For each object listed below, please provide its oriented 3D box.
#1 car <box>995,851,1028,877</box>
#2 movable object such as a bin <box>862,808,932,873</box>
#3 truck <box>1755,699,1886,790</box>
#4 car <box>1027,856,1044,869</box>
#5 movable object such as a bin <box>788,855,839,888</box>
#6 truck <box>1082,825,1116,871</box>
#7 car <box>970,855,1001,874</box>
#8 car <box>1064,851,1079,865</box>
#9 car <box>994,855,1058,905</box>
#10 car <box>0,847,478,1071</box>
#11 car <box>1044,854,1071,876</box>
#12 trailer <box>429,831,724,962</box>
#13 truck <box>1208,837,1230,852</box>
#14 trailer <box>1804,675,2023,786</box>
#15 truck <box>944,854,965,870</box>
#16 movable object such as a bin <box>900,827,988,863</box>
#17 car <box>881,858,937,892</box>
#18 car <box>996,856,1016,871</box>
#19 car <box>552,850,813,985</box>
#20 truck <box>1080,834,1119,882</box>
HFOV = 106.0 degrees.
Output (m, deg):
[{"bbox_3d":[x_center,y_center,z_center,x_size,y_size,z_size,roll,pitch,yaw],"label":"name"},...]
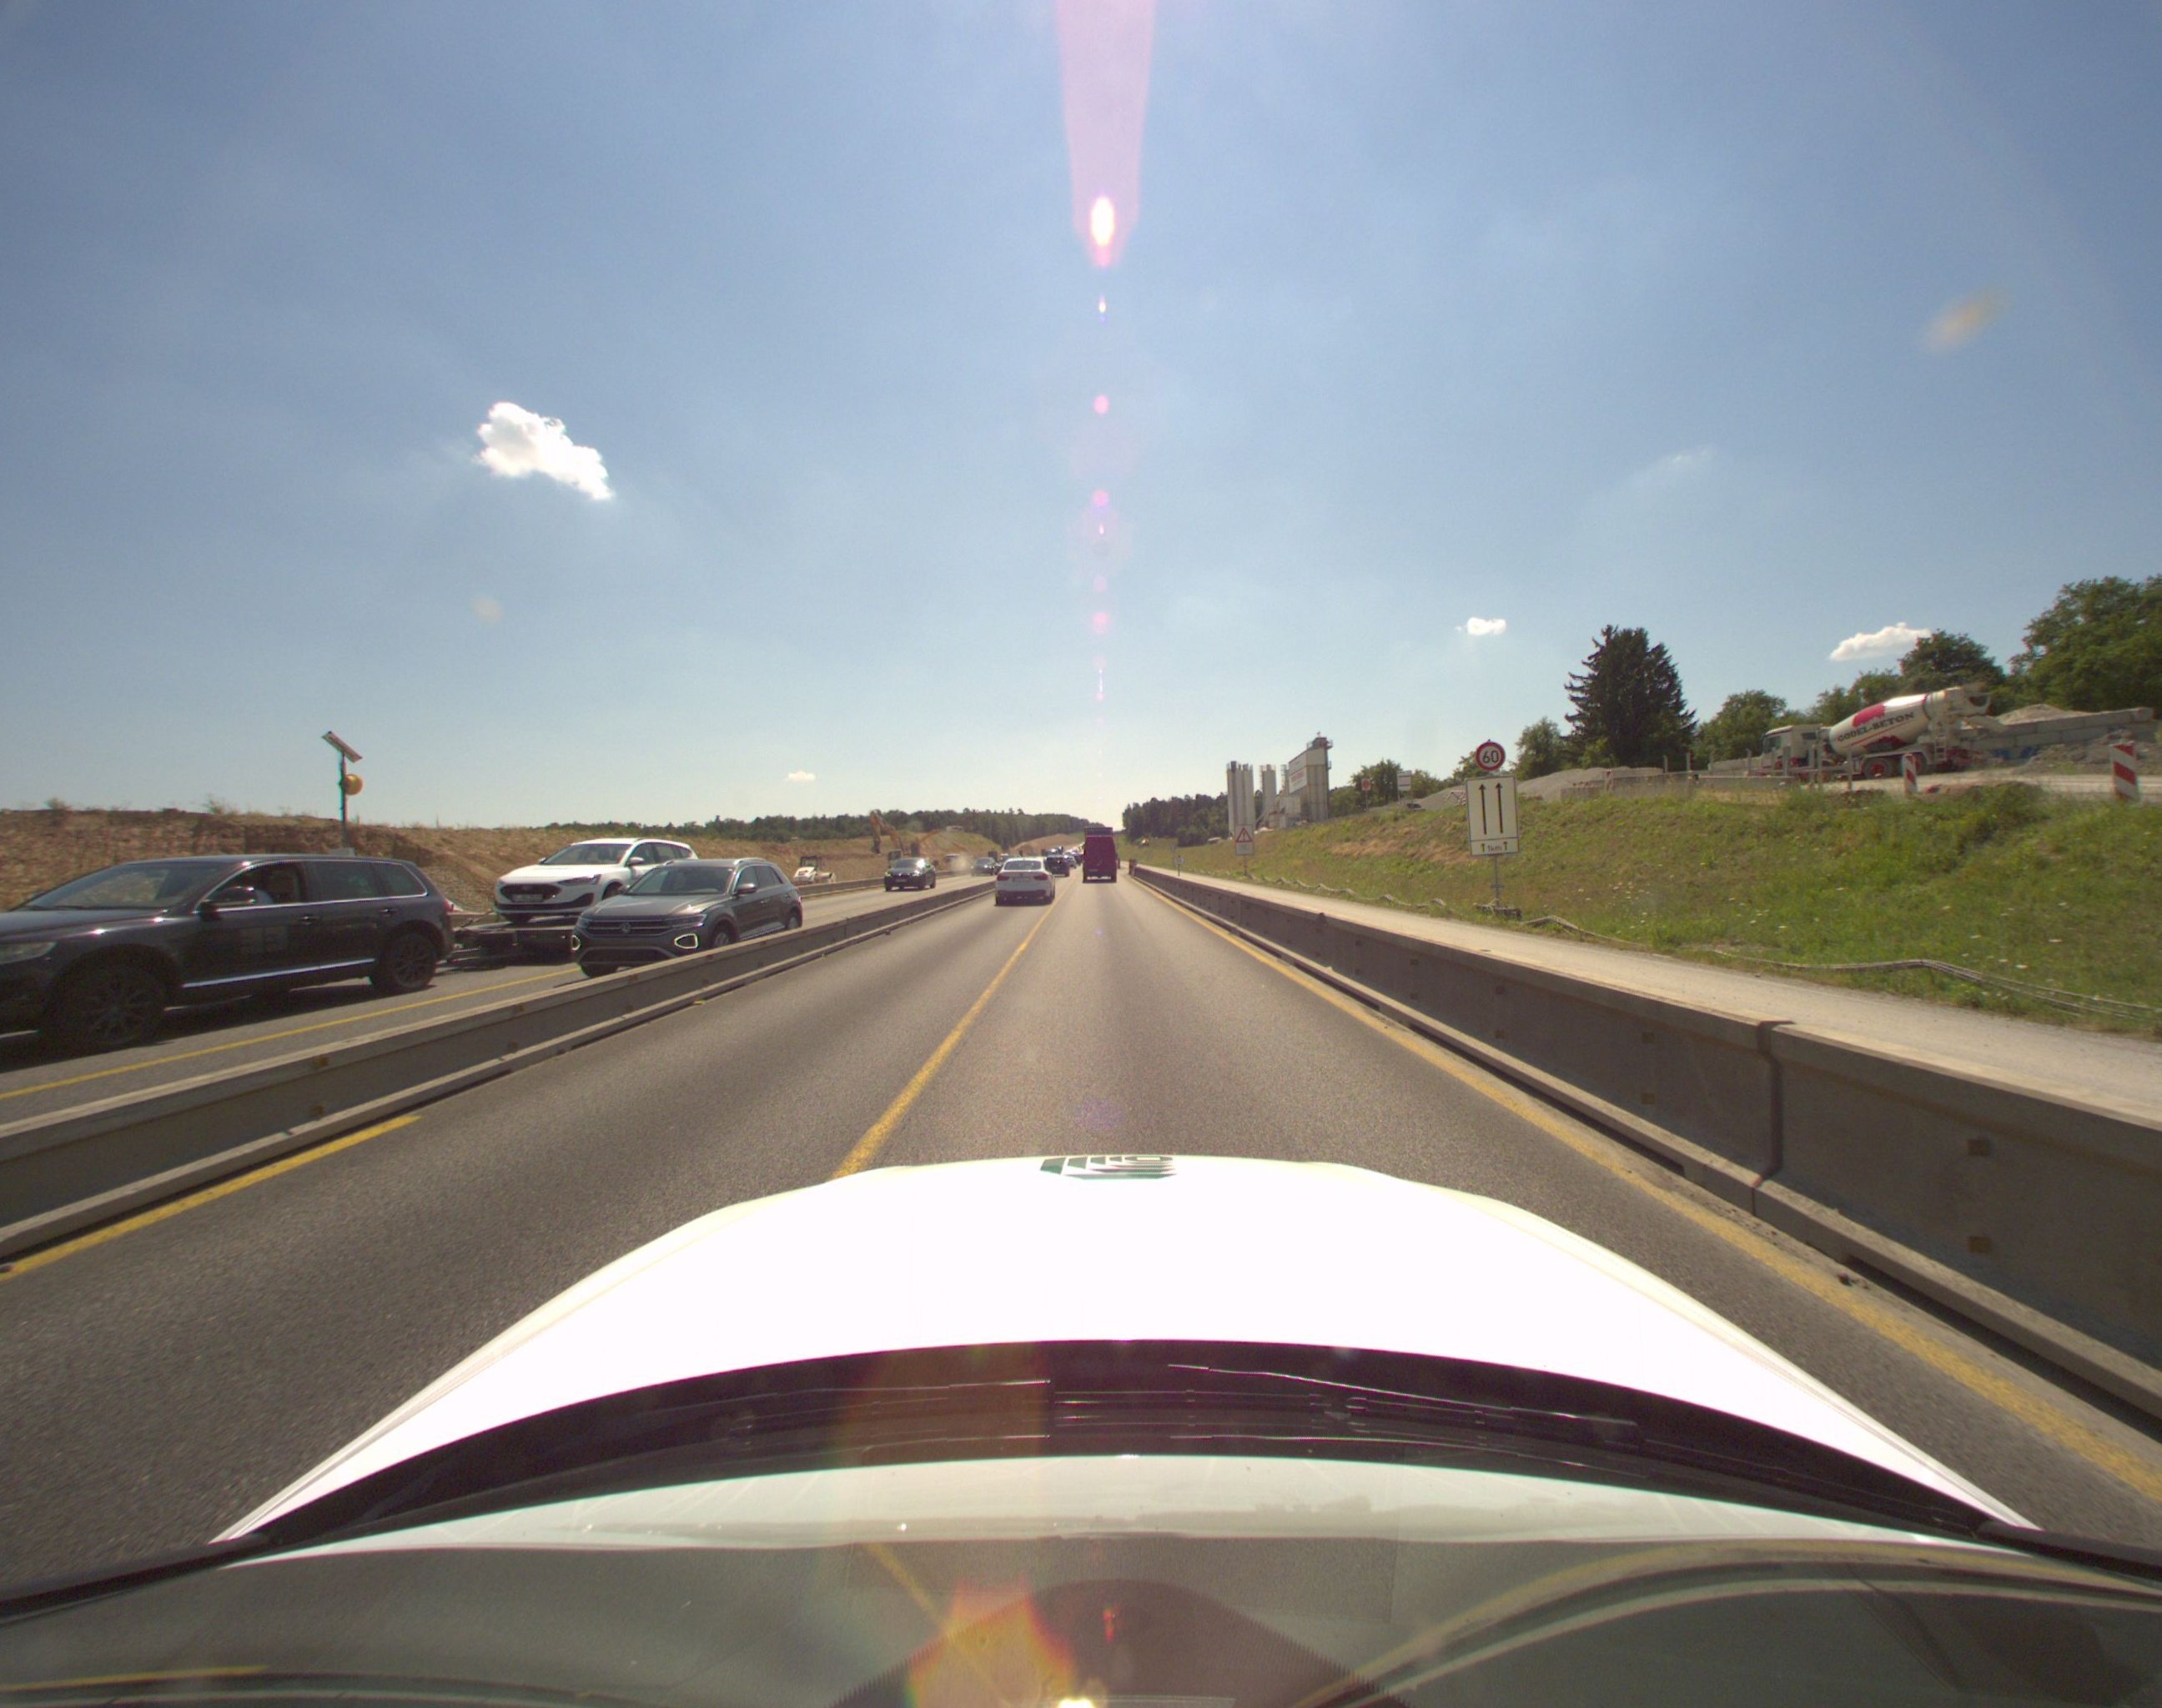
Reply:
[{"bbox_3d":[-4.989,0.709,58.989,1.765,1.741,5.039,-2,0,1],"label":"car"},{"bbox_3d":[-22.813,-1.645,101.276,7.607,7.713,3.447,-2,0,2],"label":"movable object such as a bin"},{"bbox_3d":[37.699,-5.499,41.692,2.743,4.095,4.089,-2,0,-8],"label":"truck"},{"bbox_3d":[-5.108,0.945,92.684,1.673,1.442,4.670,-2,0,0],"label":"car"},{"bbox_3d":[-21.187,1.310,64.788,1.696,2.461,6.745,-2,0,1],"label":"movable object such as a bin"},{"bbox_3d":[1.773,-0.525,78.552,3.004,4.153,8.275,-2,0,2],"label":"truck"},{"bbox_3d":[-7.832,0.832,67.181,1.854,1.501,4.577,-2,0,1],"label":"car"},{"bbox_3d":[-1.368,0.578,119.716,1.986,2.013,4.001,-2,0,1],"label":"car"},{"bbox_3d":[-1.792,0.806,27.818,1.789,1.534,5.072,-1,0,0],"label":"car"},{"bbox_3d":[-8.998,0.805,8.404,1.916,1.679,4.718,-1,0,1],"label":"car"},{"bbox_3d":[-1.699,0.774,59.696,1.789,1.534,3.932,-2,0,1],"label":"car"},{"bbox_3d":[-8.993,0.658,15.280,2.123,1.982,5.236,-2,0,1],"label":"trailer"},{"bbox_3d":[29.052,-1.956,171.316,2.869,3.113,6.047,-2,0,25],"label":"truck"},{"bbox_3d":[38.205,-5.509,37.787,2.754,4.114,6.727,-2,0,-8],"label":"trailer"},{"bbox_3d":[-22.456,1.428,145.119,2.308,2.617,8.411,-2,0,1],"label":"truck"},{"bbox_3d":[-30.294,-2.034,180.821,18.659,7.231,3.614,-2,0,-2],"label":"movable object such as a bin"},{"bbox_3d":[-8.266,0.959,39.502,1.719,1.478,4.393,-2,0,0],"label":"car"},{"bbox_3d":[-8.003,1.018,86.878,1.646,1.442,4.227,-2,0,1],"label":"car"},{"bbox_3d":[-5.503,0.773,11.916,1.688,1.579,4.134,-2,0,1],"label":"car"},{"bbox_3d":[1.125,0.227,48.965,2.104,2.633,6.485,-2,0,1],"label":"truck"}]
